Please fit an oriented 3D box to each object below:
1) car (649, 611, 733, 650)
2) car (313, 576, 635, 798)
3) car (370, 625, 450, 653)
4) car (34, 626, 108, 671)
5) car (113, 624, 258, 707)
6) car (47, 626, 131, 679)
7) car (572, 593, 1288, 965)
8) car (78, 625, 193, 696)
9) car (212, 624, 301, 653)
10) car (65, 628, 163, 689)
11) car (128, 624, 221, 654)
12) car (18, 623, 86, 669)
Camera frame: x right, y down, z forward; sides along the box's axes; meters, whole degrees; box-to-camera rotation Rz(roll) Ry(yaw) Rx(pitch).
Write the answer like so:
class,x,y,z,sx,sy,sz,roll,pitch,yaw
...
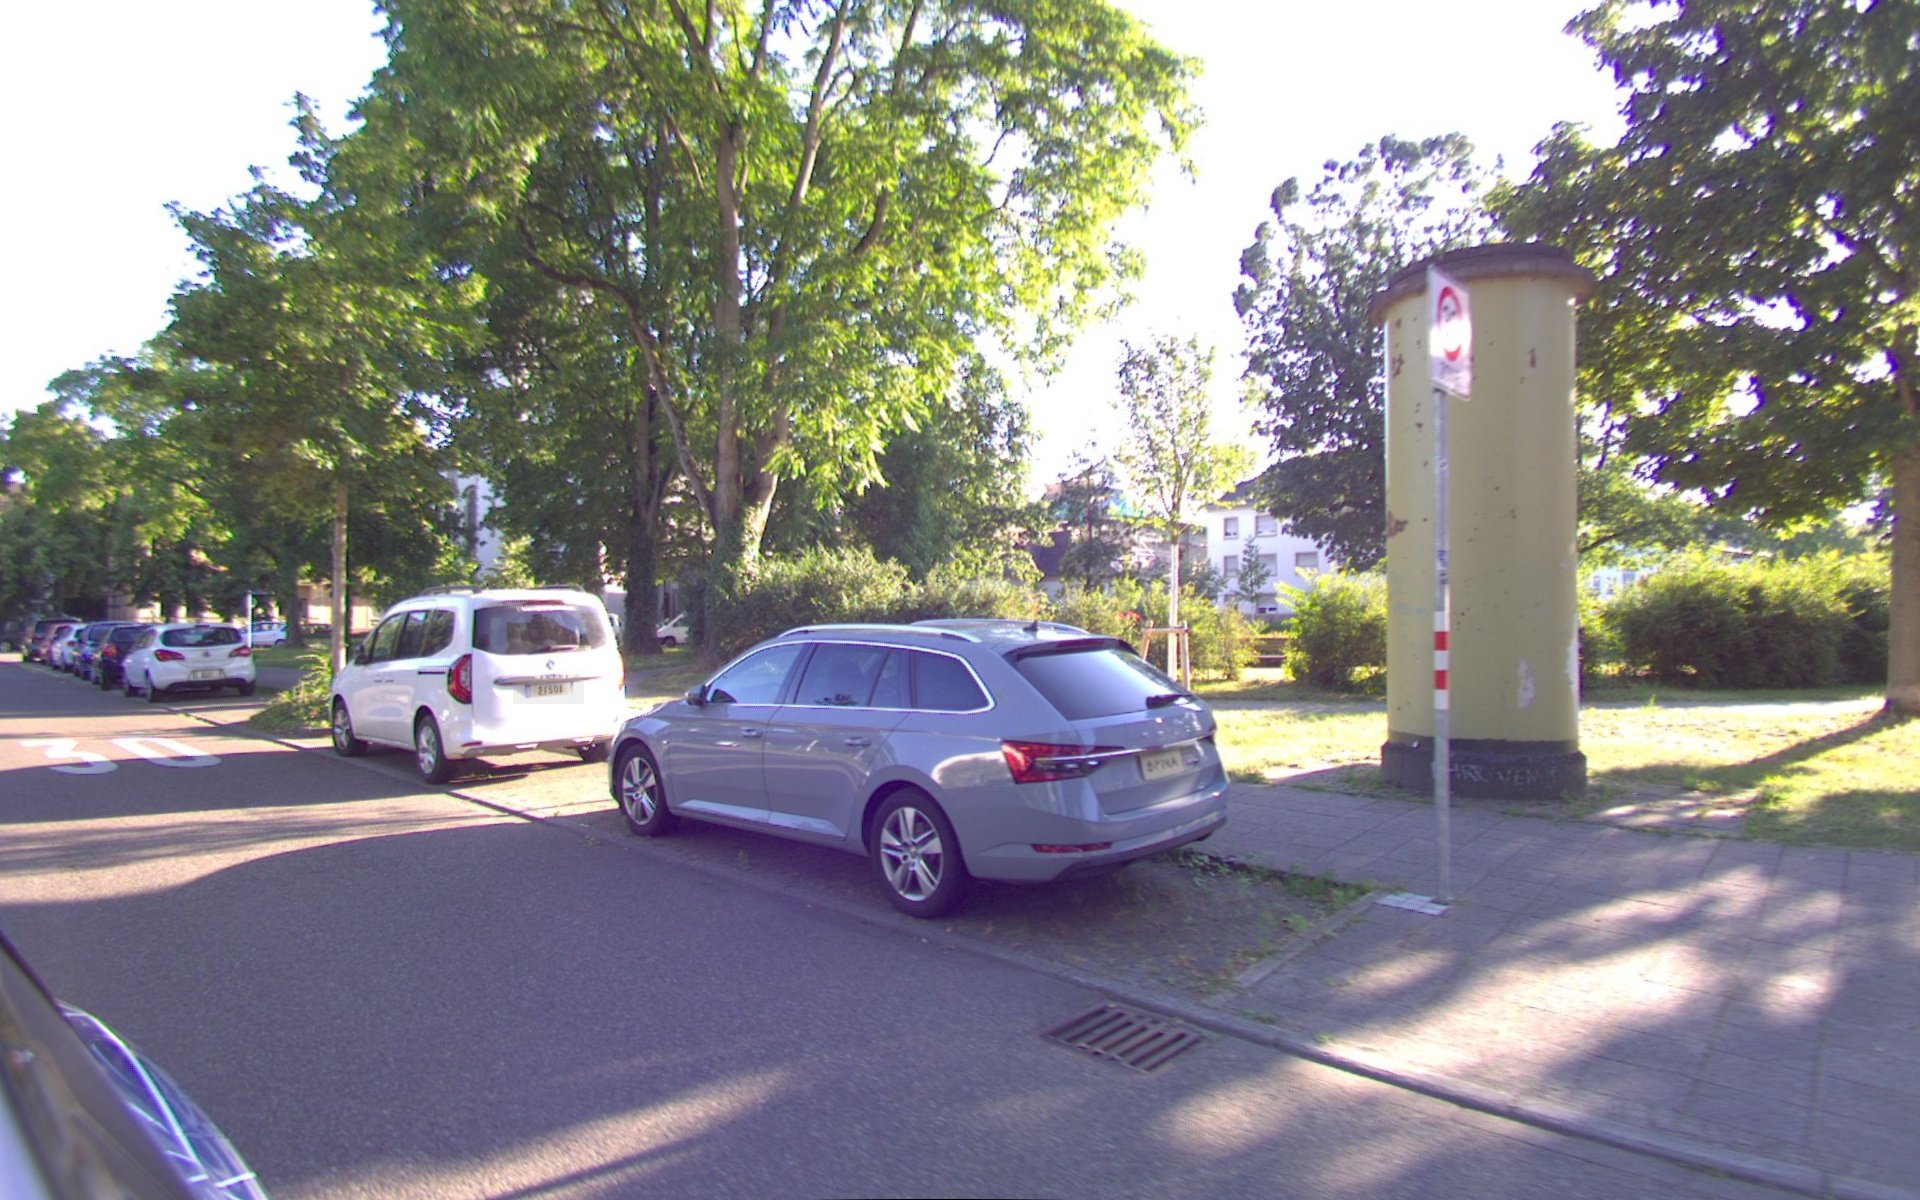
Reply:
class,x,y,z,sx,sy,sz,roll,pitch,yaw
car,-15.708,1.766,59.259,4.693,2.239,1.856,0,-1,-14
car,-5.370,0.782,10.909,4.239,1.931,1.737,-1,-1,44
car,-30.403,2.163,56.013,3.516,1.509,1.679,1,-2,-12
car,-31.595,1.684,35.931,3.680,1.521,1.693,-1,-2,45
car,-15.619,1.241,20.369,3.308,1.521,1.694,-1,-2,41
car,-27.154,1.582,31.522,3.680,1.521,1.693,-1,-2,45
car,-0.556,0.810,6.637,4.839,1.570,1.841,-1,-2,44
car,-19.536,1.362,23.924,3.680,1.521,1.693,-1,-2,44
car,-37.848,2.075,54.523,3.516,1.509,1.693,0,-1,-12
car,-23.090,1.536,27.573,3.680,1.521,1.693,-1,-2,45
car,-41.877,2.069,54.005,3.516,1.509,1.693,0,-1,-12
car,-34.903,1.721,38.877,3.680,1.696,1.693,-1,-2,45
